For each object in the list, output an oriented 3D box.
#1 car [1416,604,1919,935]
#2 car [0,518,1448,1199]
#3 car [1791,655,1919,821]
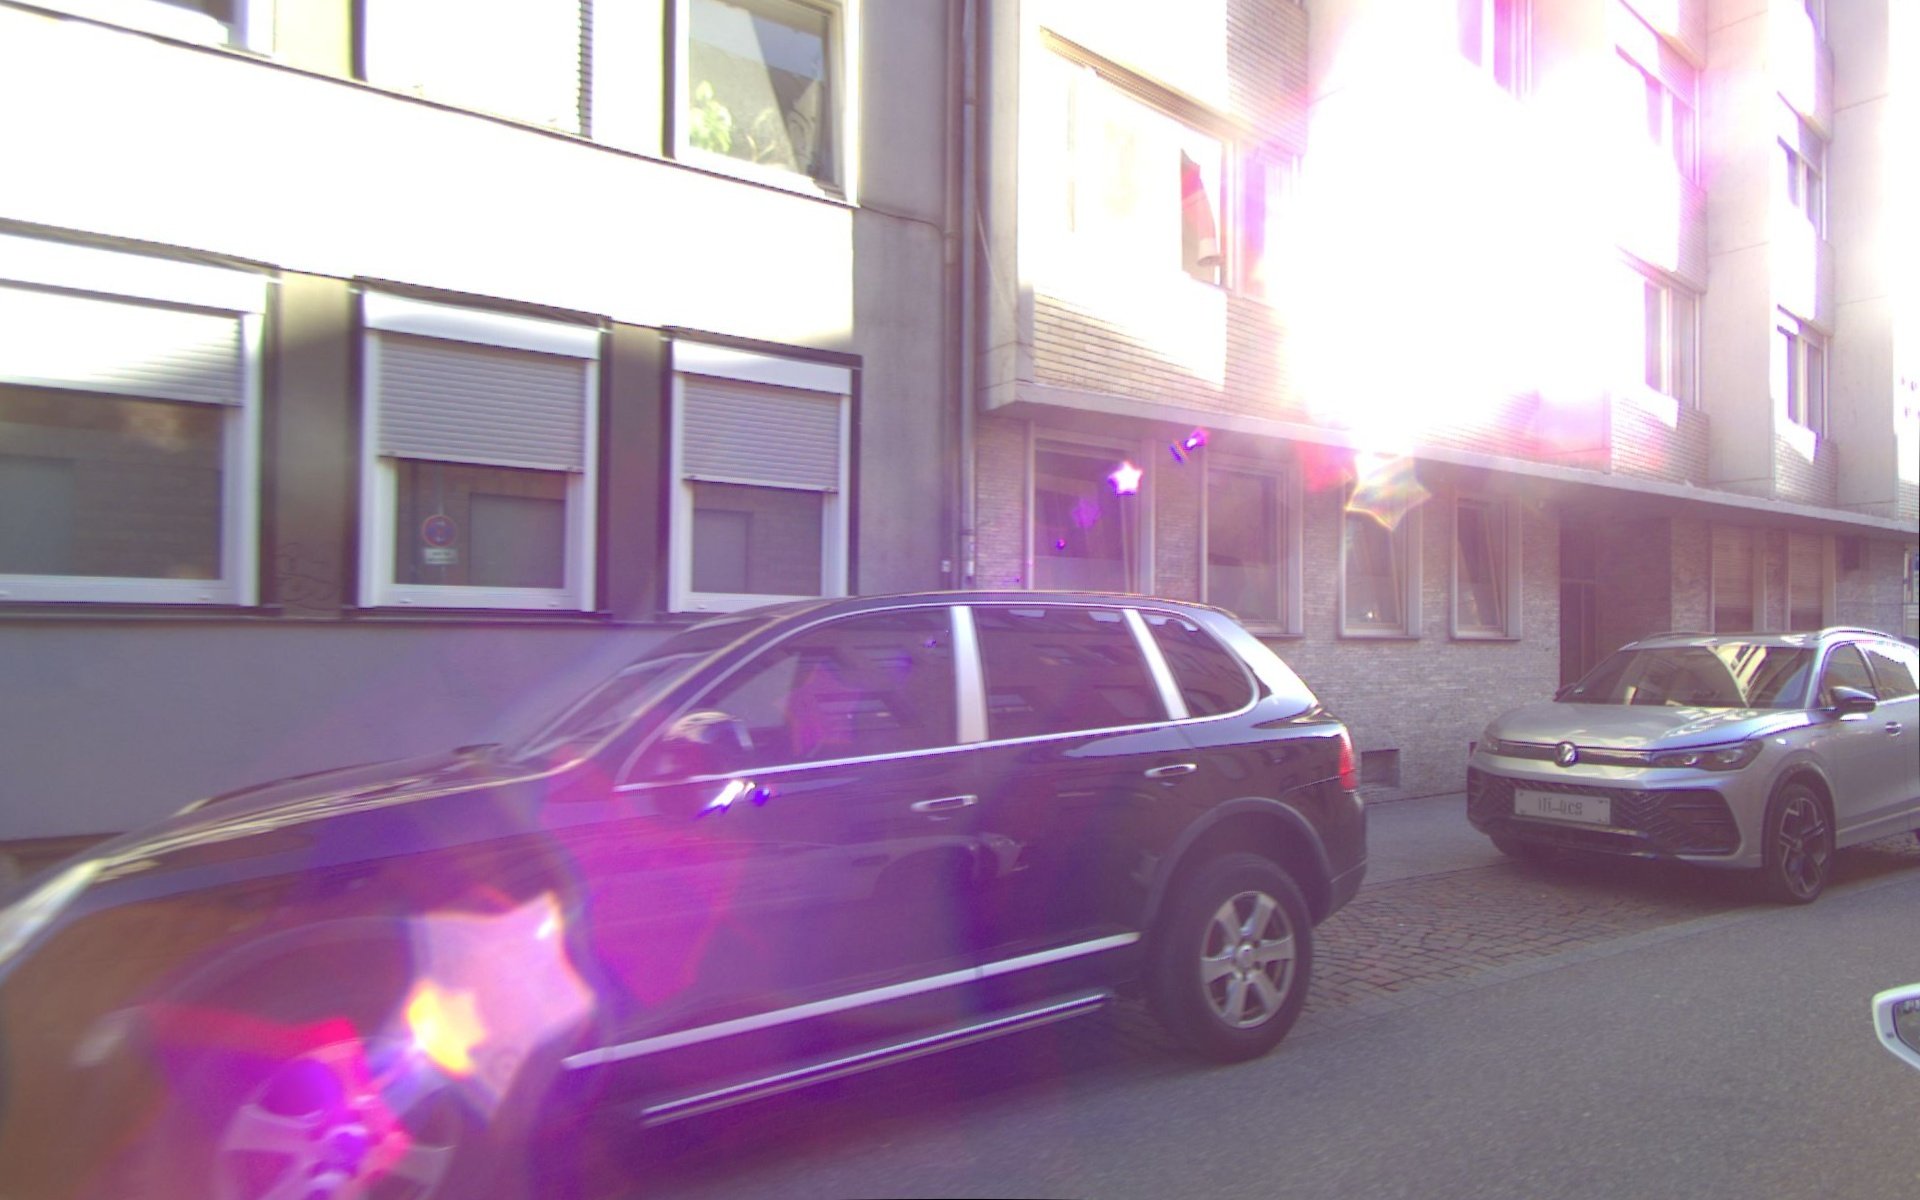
[{"bbox_3d":[5.548,0.980,7.264,4.336,1.765,1.882,1,-2,-29],"label":"car"},{"bbox_3d":[-0.414,0.765,3.839,4.498,1.698,1.882,1,-2,-29],"label":"car"},{"bbox_3d":[10.259,1.292,10.024,3.950,1.479,1.642,2,-5,-29],"label":"car"}]
